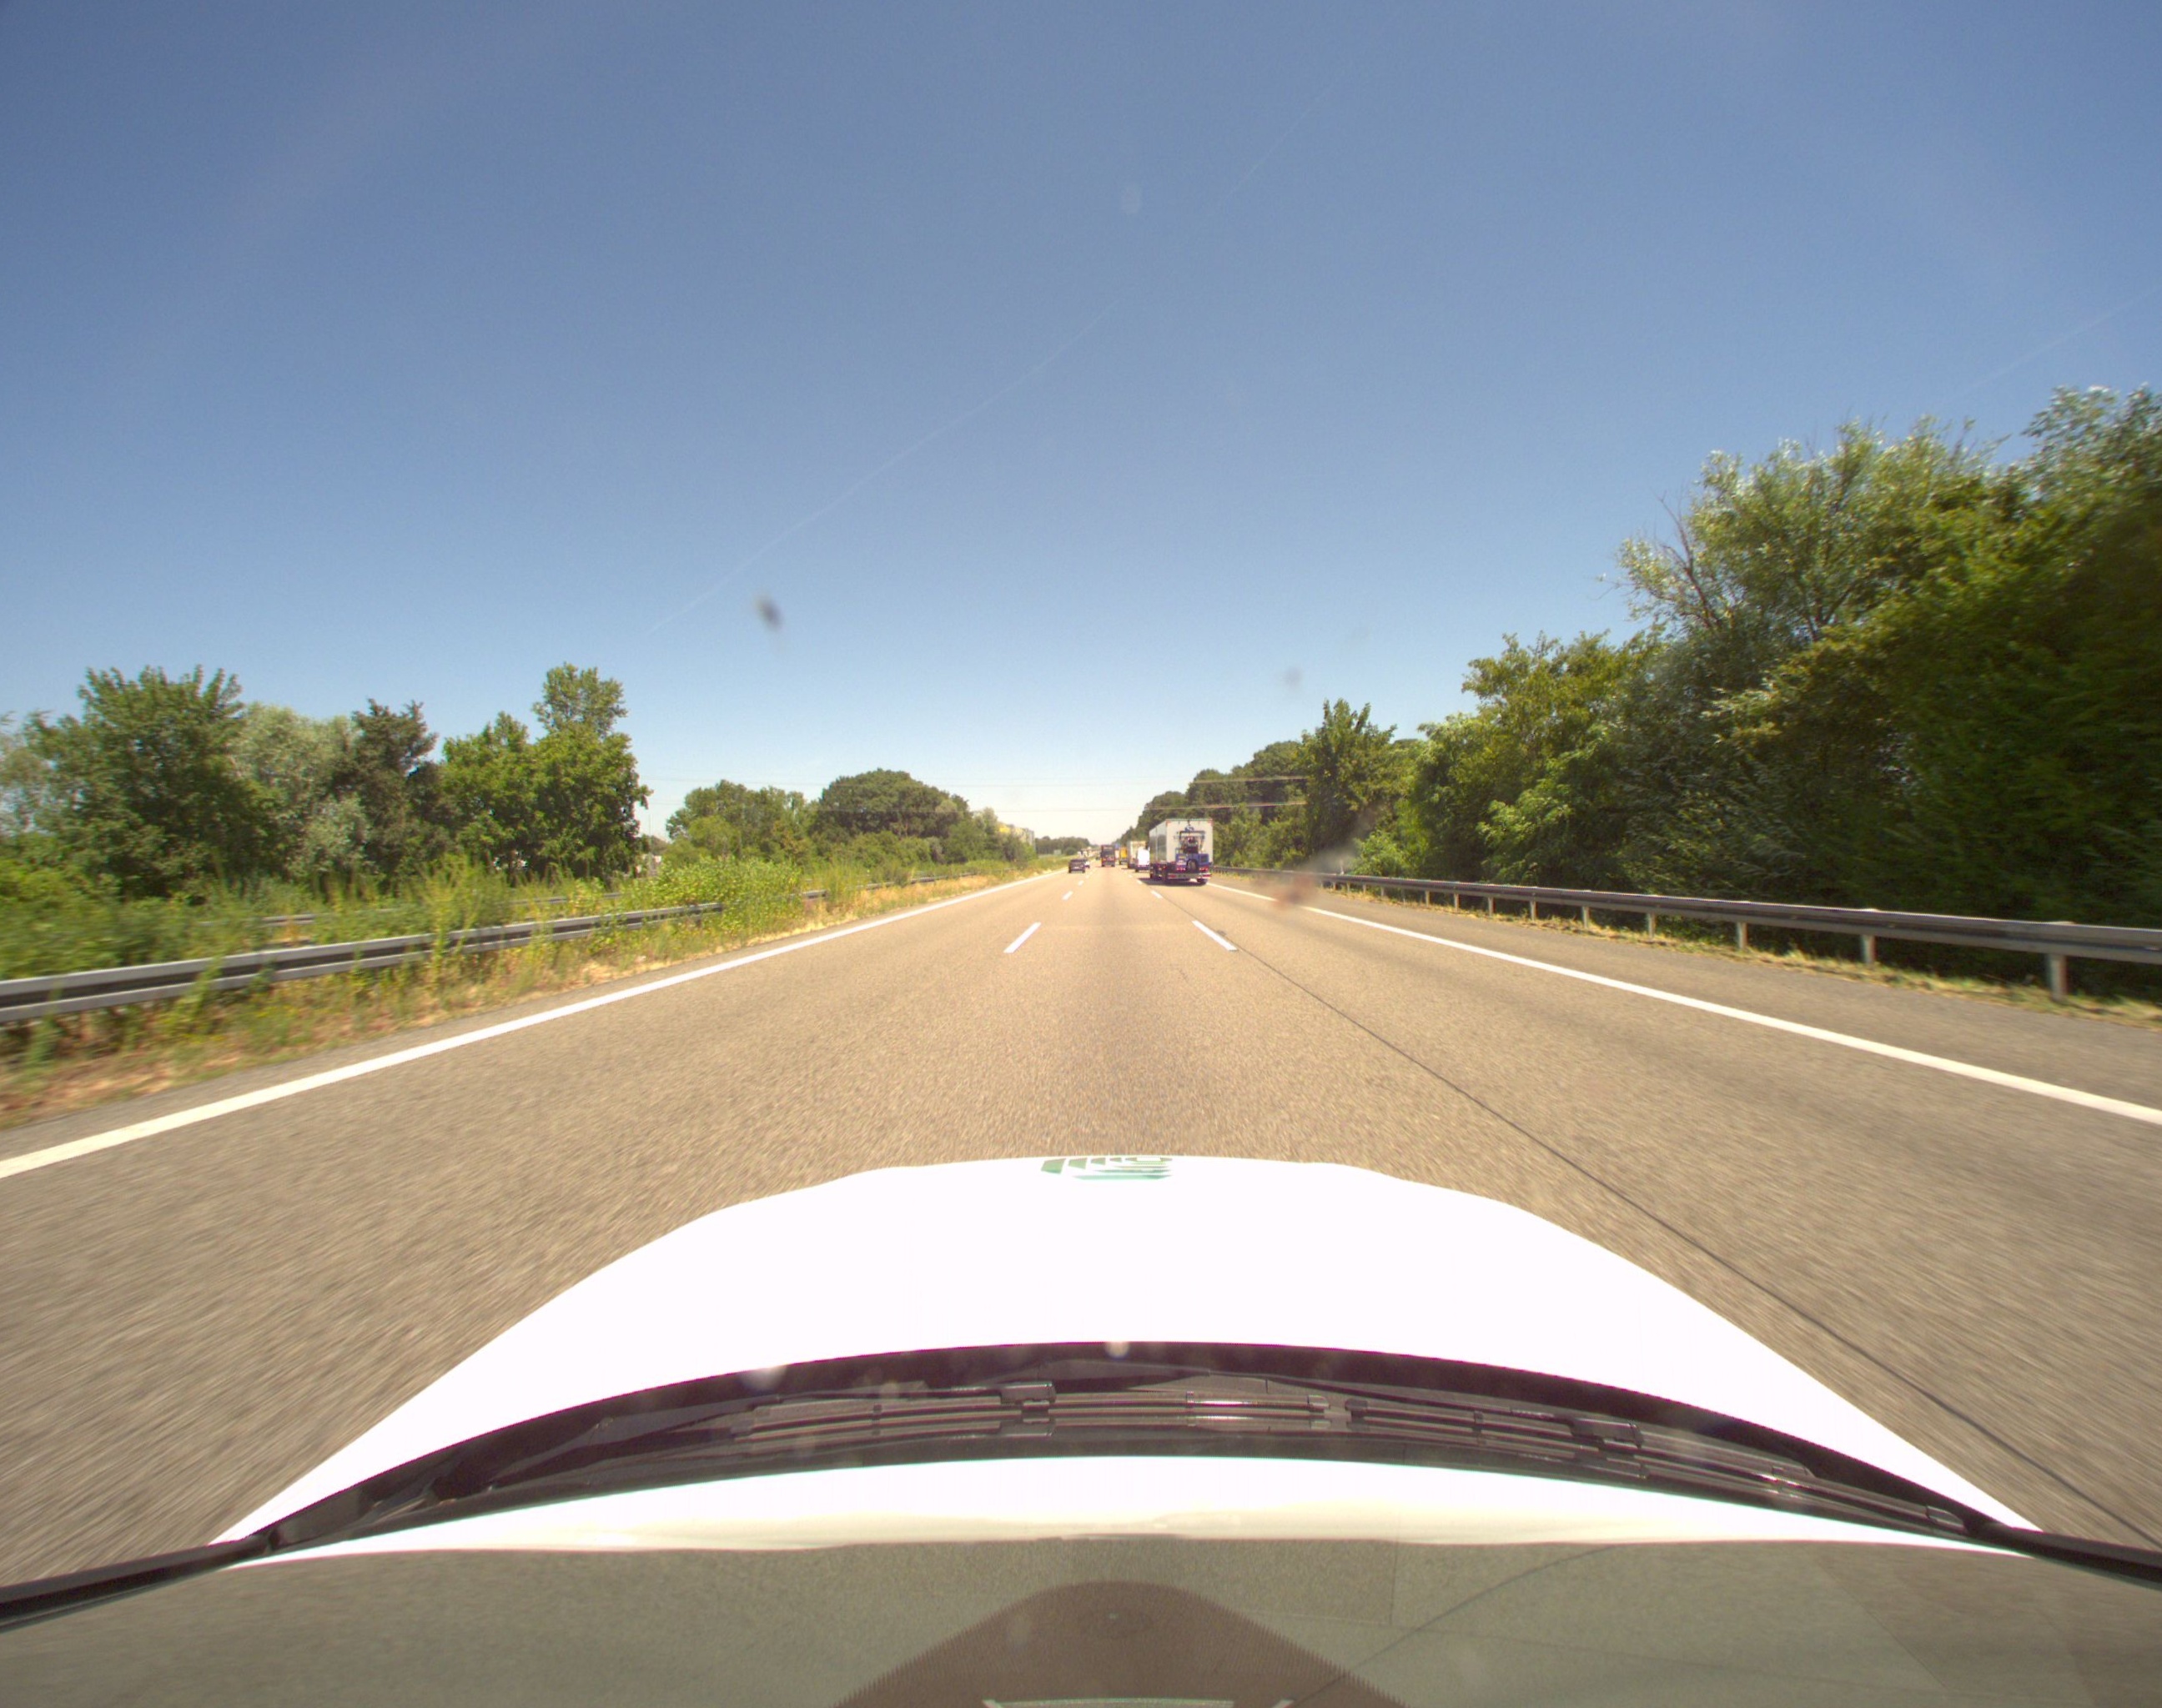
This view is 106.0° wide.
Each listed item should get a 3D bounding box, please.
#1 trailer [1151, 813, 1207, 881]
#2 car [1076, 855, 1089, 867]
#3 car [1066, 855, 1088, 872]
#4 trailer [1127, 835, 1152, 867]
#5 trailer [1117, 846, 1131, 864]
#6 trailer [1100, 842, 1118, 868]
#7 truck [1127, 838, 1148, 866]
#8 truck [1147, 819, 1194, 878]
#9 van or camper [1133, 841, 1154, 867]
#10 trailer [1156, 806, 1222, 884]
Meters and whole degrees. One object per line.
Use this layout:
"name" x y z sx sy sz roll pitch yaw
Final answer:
"trailer" 6.178 -0.379 52.516 2.909 4.041 7.319 0 0 2
"car" 0.252 1.114 128.034 1.986 1.728 4.131 -1 0 1
"car" -0.374 1.009 89.679 2.208 1.790 5.395 -2 0 2
"trailer" 8.413 -0.384 118.274 2.982 4.289 13.423 0 0 2
"trailer" 9.879 0.180 186.855 2.824 3.953 11.687 -1 0 2
"trailer" 5.107 0.232 150.571 3.095 4.507 14.899 -1 0 1
"truck" 8.660 -0.285 126.142 2.991 4.125 5.254 -1 -1 2
"truck" 6.383 -0.348 58.760 2.878 4.030 6.873 0 0 2
"van or camper" 6.755 0.019 88.463 2.015 2.637 6.489 0 0 1
"trailer" 5.981 -0.430 46.366 2.934 4.063 8.130 0 0 2
